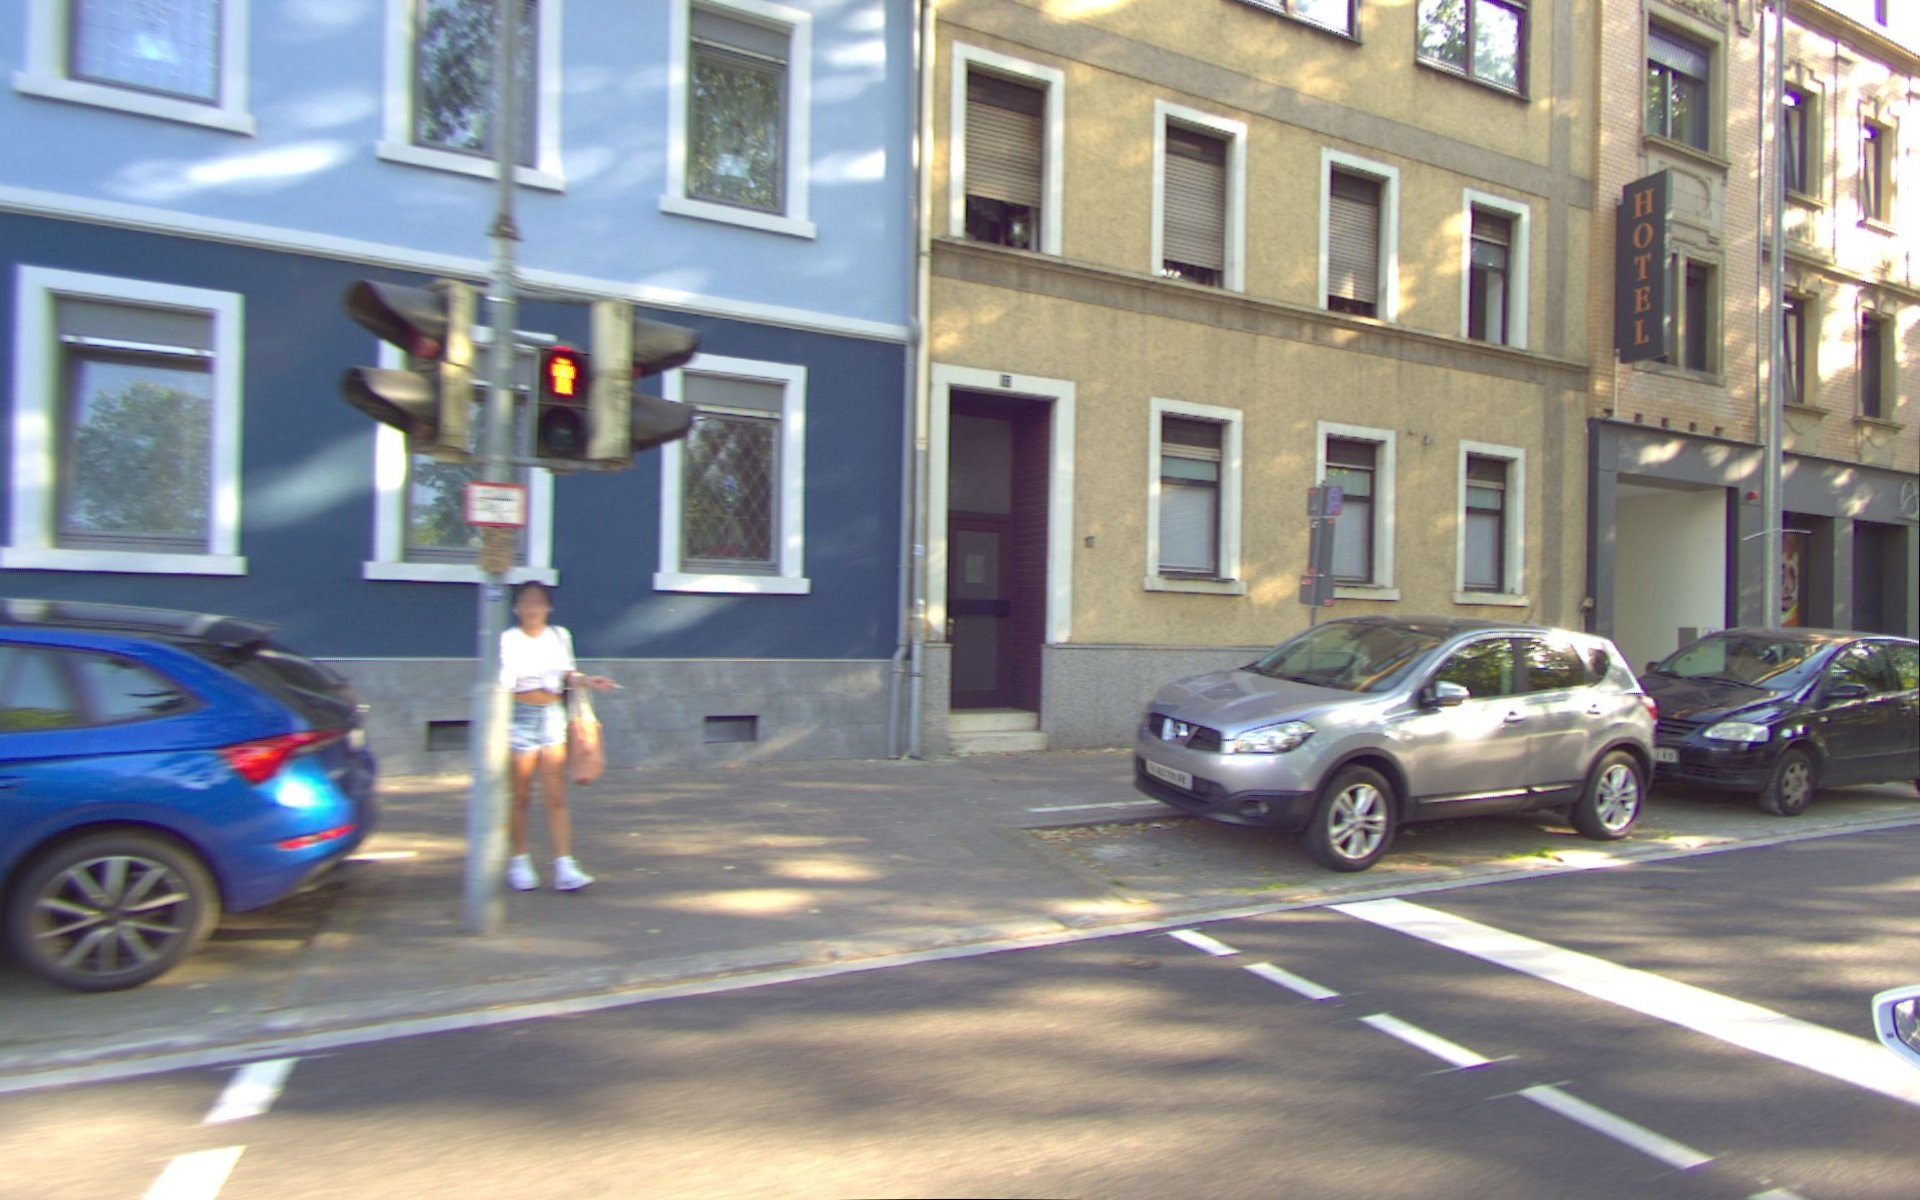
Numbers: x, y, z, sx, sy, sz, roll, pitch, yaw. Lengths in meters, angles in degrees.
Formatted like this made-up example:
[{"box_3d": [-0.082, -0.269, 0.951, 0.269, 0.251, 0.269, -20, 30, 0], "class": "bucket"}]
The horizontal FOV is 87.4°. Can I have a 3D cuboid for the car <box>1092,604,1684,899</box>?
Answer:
[{"box_3d": [3.222, 0.942, 7.541, 4.099, 1.695, 1.776, 2, 0, -25], "class": "car"}]

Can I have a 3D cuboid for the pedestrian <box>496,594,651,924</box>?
[{"box_3d": [-2.094, 0.784, 5.399, 0.696, 1.590, 0.860, 1, -1, -25], "class": "pedestrian"}]

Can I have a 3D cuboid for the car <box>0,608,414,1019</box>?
[{"box_3d": [-4.711, 0.797, 4.146, 4.207, 1.506, 1.644, 2, 0, -27], "class": "car"}]

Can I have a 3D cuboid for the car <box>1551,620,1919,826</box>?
[{"box_3d": [7.723, 1.059, 9.627, 3.652, 1.626, 1.674, 2, 0, -23], "class": "car"}]
